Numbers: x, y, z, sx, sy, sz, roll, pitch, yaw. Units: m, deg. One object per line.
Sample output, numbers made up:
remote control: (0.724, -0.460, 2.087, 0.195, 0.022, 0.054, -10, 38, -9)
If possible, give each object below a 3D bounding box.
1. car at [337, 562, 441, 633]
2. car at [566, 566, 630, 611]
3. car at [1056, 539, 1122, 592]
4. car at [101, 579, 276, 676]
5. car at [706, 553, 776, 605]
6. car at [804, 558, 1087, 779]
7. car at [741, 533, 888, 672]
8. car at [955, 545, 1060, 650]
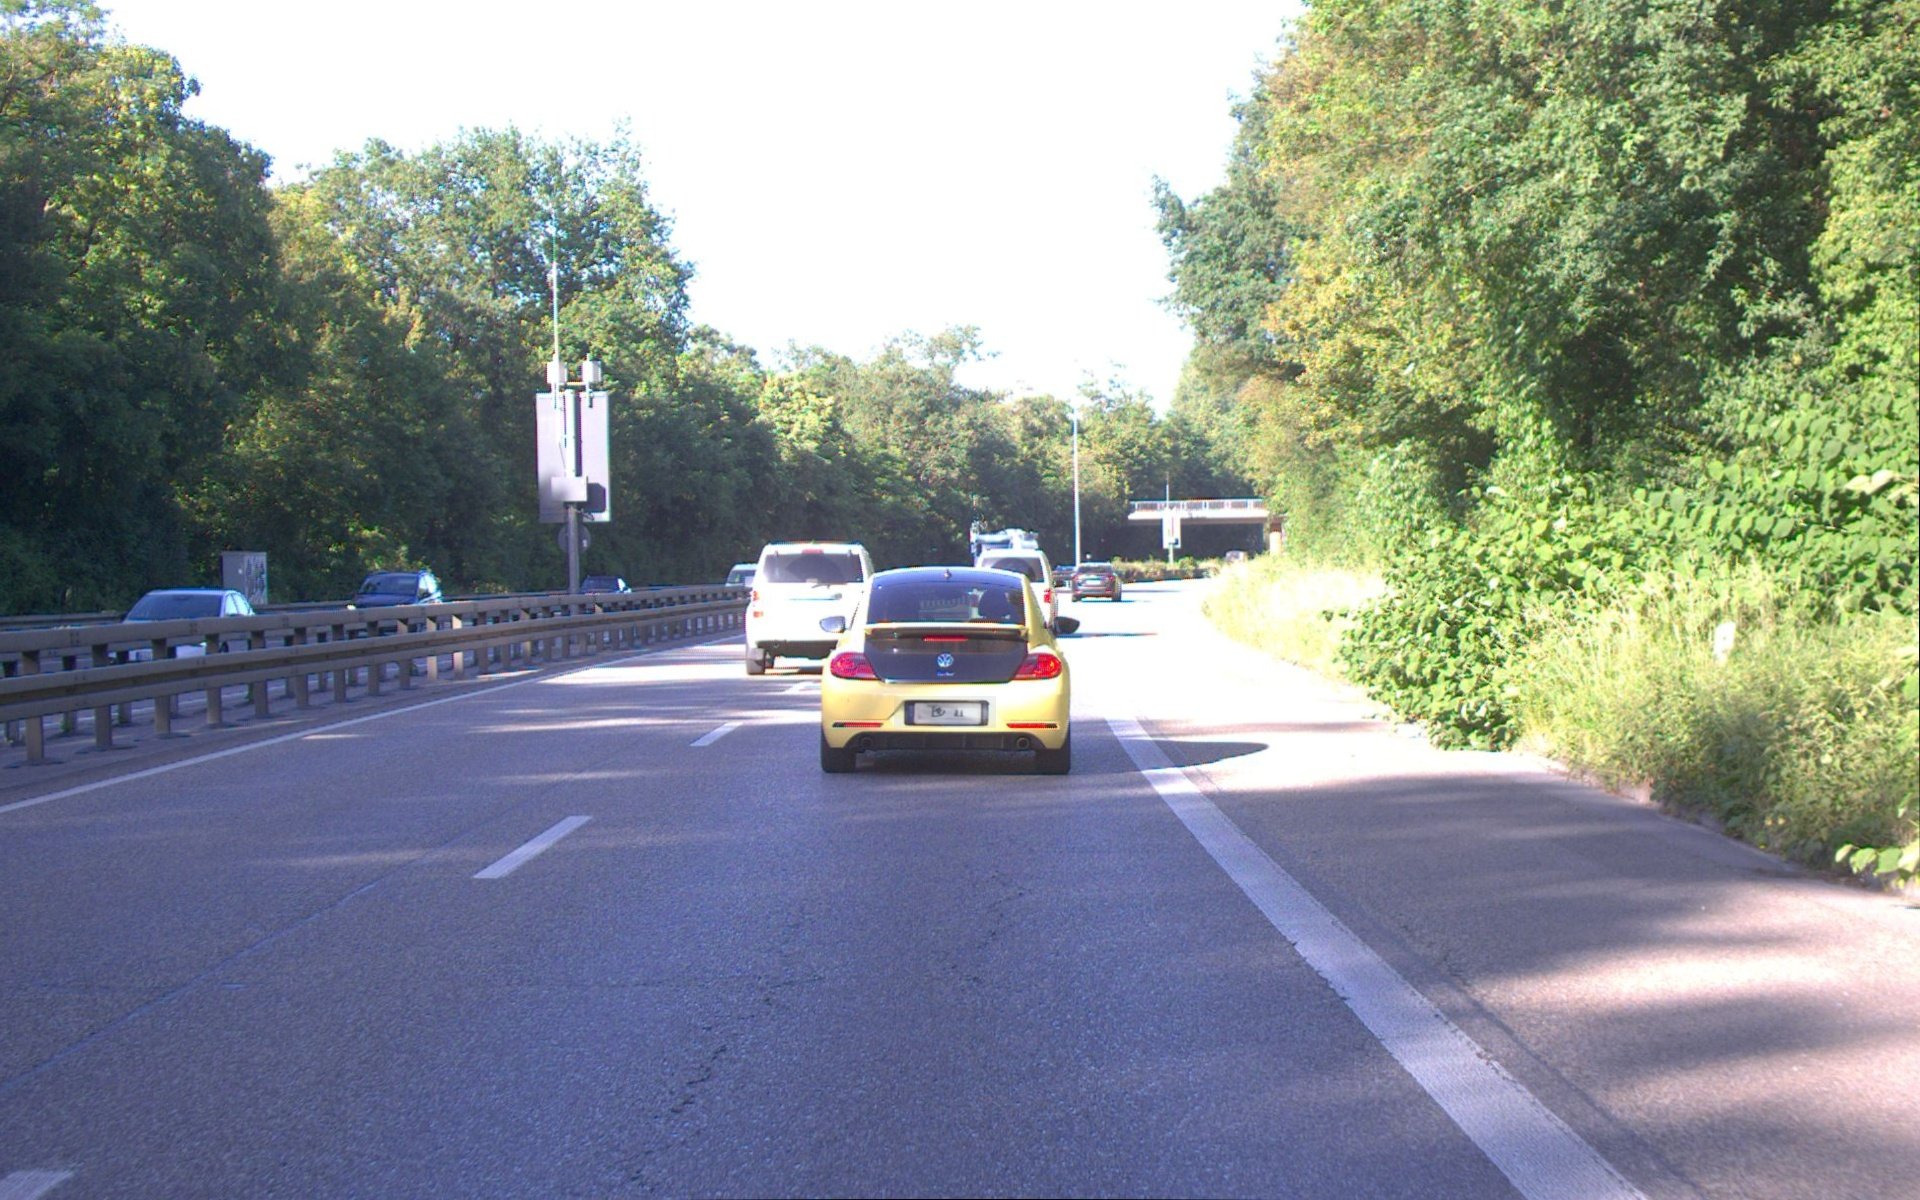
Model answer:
car: (-14.304, -0.082, 86.321, 1.597, 1.633, 4.675, -2, 1, 2)
car: (-12.258, -0.411, 116.740, 1.597, 1.475, 3.909, -1, 1, 2)
car: (4.971, -1.341, 131.952, 2.263, 1.869, 5.075, -2, 1, 4)
car: (-11.733, 0.392, 52.524, 1.597, 1.309, 3.909, -2, 1, 2)
car: (-8.154, -0.807, 128.370, 1.994, 1.782, 5.028, -2, 1, 2)
car: (-0.146, 0.453, 25.375, 1.939, 1.503, 3.423, 0, 1, -2)
car: (-1.945, 0.010, 46.816, 1.741, 1.823, 3.422, 0, 1, 2)
car: (1.004, -0.085, 70.608, 1.993, 2.007, 4.000, -2, 1, 2)
